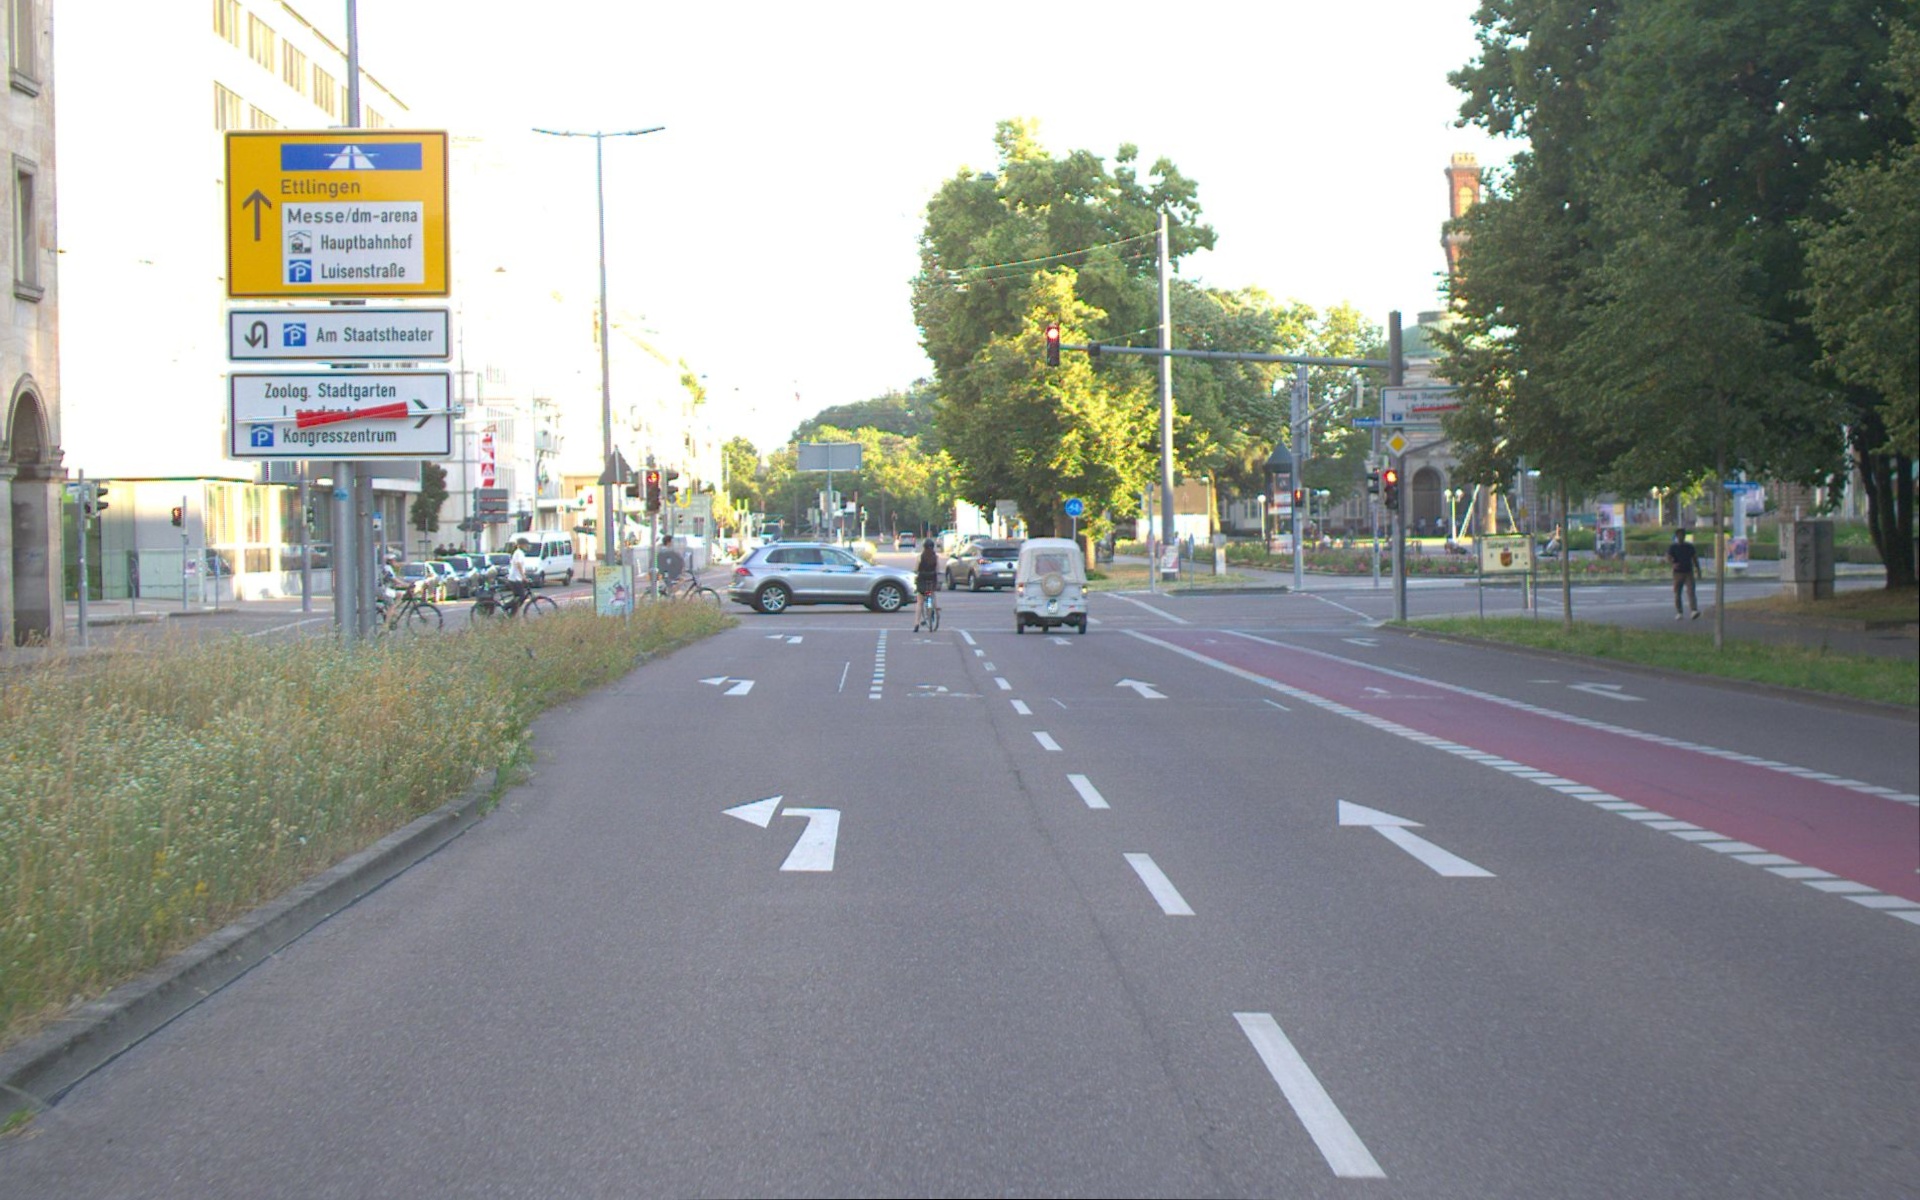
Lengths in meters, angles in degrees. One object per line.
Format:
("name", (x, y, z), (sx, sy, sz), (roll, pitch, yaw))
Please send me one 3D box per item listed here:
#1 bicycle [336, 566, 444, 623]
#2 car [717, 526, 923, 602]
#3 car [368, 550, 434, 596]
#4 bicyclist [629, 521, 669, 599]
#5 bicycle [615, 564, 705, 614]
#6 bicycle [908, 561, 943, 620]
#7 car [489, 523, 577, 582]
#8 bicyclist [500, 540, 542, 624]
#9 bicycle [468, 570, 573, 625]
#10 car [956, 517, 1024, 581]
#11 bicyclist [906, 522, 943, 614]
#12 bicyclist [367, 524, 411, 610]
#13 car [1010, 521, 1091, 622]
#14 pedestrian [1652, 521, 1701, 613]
("bicycle", (-11.338, -0.113, 68.416), (2.015, 1.065, 0.731), (-1, 1, 1))
("car", (-3.261, -0.852, 79.737), (4.532, 1.642, 2.001), (-1, 1, -9))
("car", (-20.003, -0.949, 123.140), (1.796, 1.470, 4.000), (-1, -1, -2))
("bicyclist", (-6.817, -0.878, 75.338), (0.746, 1.687, 0.715), (-1, 1, 2))
("bicycle", (-6.569, -0.243, 75.331), (1.896, 1.065, 0.731), (0, 1, 2))
("bicycle", (-0.658, -0.188, 64.496), (0.637, 1.065, 2.069), (0, 1, -1))
("car", (-18.961, -2.104, 153.002), (2.177, 2.377, 5.986), (-2, -1, 10))
("bicyclist", (-8.972, -0.378, 70.294), (0.746, 1.687, 0.765), (-1, 1, -1))
("bicycle", (-8.982, -0.057, 70.277), (2.057, 1.065, 0.787), (-1, 1, -2))
("car", (0.964, -1.684, 112.164), (1.993, 2.007, 4.001), (-1, 1, -2))
("bicyclist", (-0.668, -0.603, 64.173), (0.628, 1.687, 0.748), (-1, 1, -2))
("bicyclist", (-11.358, -0.652, 68.424), (0.746, 1.687, 0.715), (-1, 1, -2))
("car", (1.683, -0.548, 63.943), (1.459, 1.774, 2.564), (0, 2, 1))
("pedestrian", (13.334, -0.621, 63.961), (0.695, 1.687, 0.748), (-1, 1, -2))
